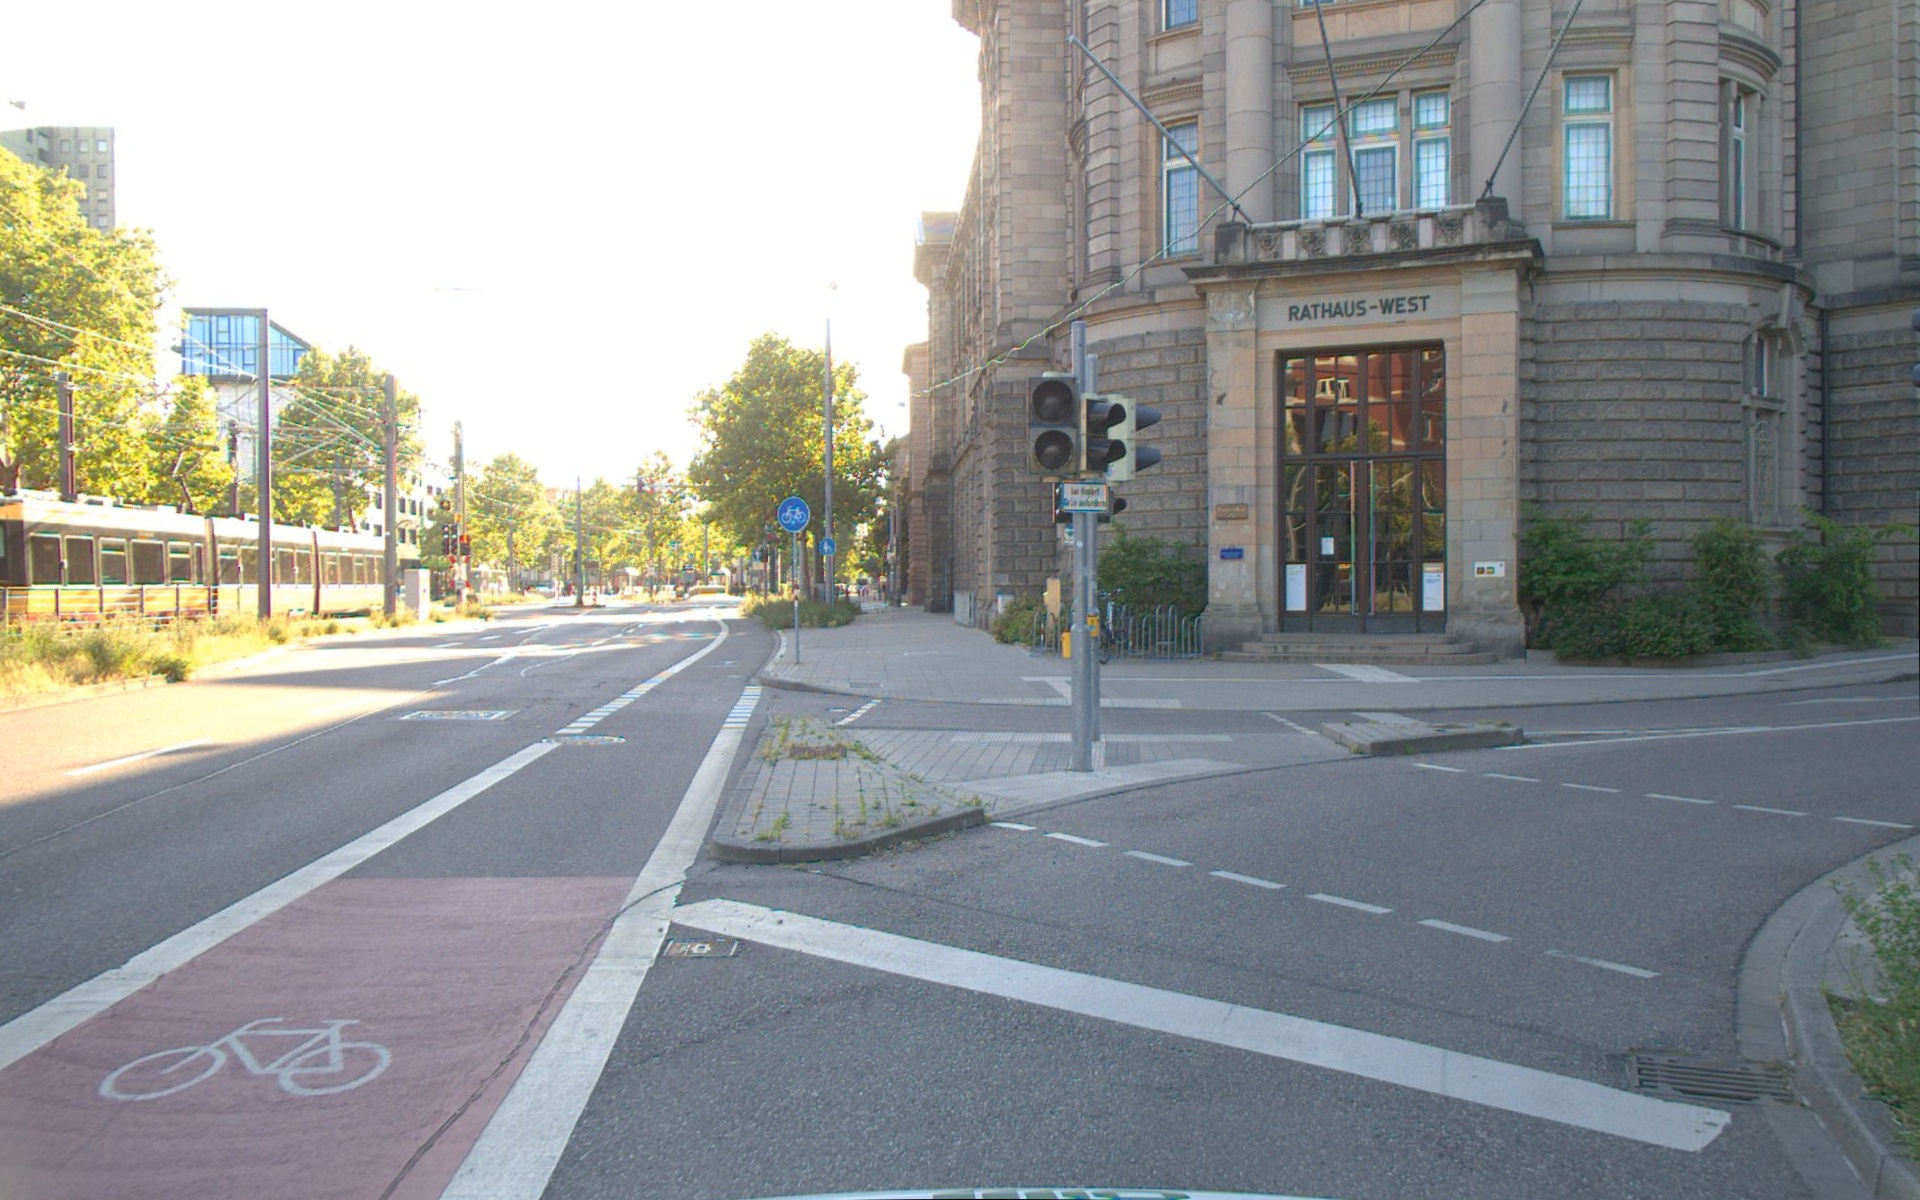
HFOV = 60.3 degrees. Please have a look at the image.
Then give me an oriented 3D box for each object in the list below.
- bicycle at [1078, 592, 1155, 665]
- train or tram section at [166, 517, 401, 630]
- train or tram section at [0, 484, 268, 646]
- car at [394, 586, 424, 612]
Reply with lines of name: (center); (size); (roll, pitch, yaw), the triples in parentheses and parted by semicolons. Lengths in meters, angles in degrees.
bicycle: (2.799, 0.486, 29.312); (0.848, 1.217, 2.240); (-1, 0, 19)
train or tram section: (-25.227, -0.913, 63.419); (3.053, 3.621, 19.903); (-1, 0, -7)
train or tram section: (-23.499, -0.803, 45.070); (3.050, 3.621, 17.464); (-1, 0, -4)
car: (-34.793, -0.082, 104.500); (1.579, 1.555, 3.543); (-1, 0, -15)
